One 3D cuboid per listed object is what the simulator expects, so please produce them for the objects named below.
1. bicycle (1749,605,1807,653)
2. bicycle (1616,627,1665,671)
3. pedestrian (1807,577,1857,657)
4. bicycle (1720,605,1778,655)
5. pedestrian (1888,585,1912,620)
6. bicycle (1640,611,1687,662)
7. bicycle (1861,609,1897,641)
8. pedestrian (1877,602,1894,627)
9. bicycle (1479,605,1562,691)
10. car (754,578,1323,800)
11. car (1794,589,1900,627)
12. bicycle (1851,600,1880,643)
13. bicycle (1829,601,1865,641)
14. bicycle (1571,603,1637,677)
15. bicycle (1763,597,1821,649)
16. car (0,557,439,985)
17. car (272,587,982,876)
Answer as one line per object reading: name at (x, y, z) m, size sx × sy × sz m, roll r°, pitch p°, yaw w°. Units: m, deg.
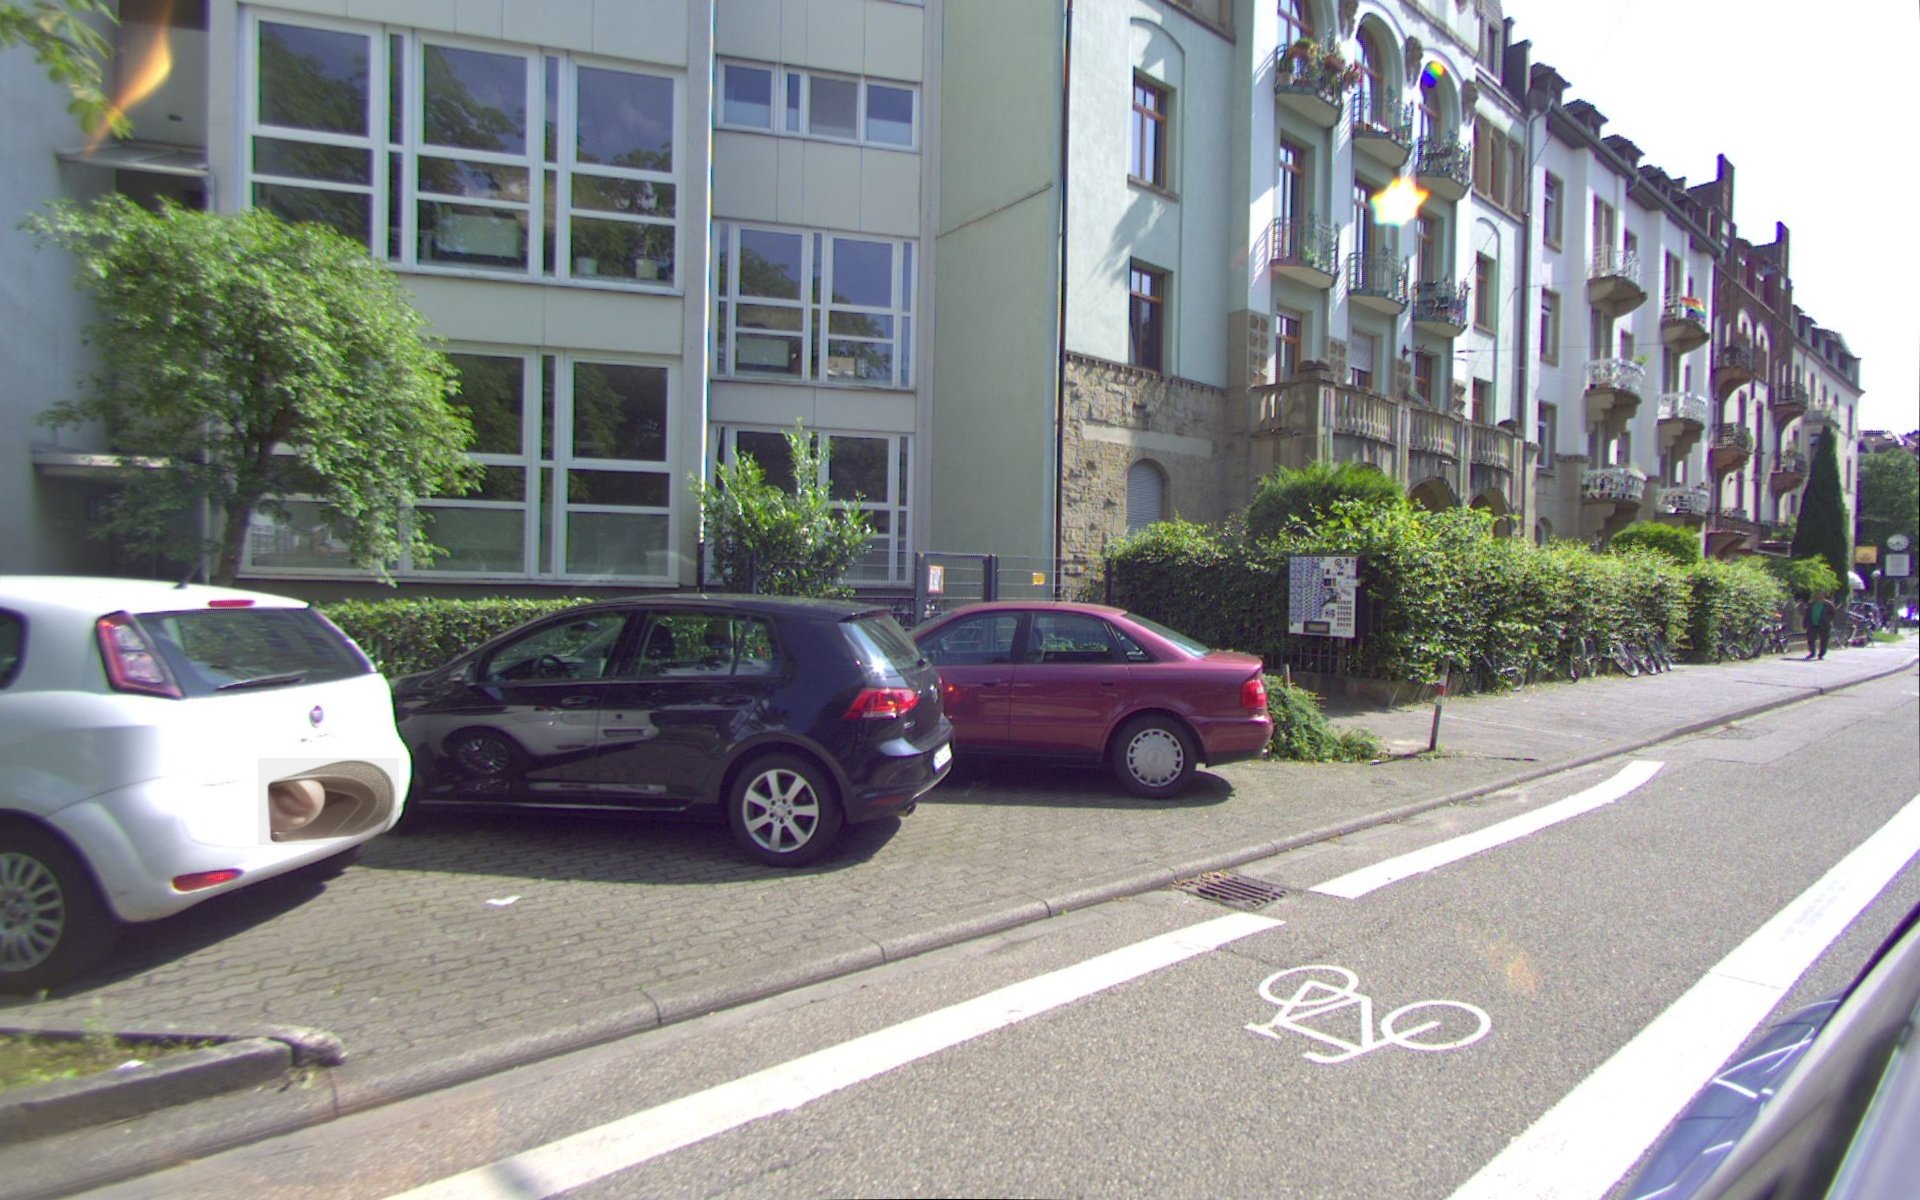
bicycle at (19.115, 0.652, 23.631) m, size 2.321 × 1.007 × 0.612 m, roll 0°, pitch 4°, yaw -41°
bicycle at (12.016, 0.846, 17.858) m, size 1.531 × 0.685 × 0.280 m, roll 0°, pitch 5°, yaw -41°
pedestrian at (21.207, 0.396, 24.608) m, size 0.788 × 1.884 × 0.571 m, roll 5°, pitch 3°, yaw 43°
bicycle at (17.279, 0.640, 22.153) m, size 1.839 × 1.000 × 0.613 m, roll 0°, pitch 4°, yaw -41°
pedestrian at (52.098, 0.120, 56.100) m, size 0.659 × 1.862 × 0.860 m, roll 11°, pitch 7°, yaw 41°
bicycle at (13.513, 0.697, 19.425) m, size 1.638 × 0.918 × 0.274 m, roll 2°, pitch 3°, yaw -41°
bicycle at (31.038, 0.810, 34.160) m, size 3.015 × 0.972 × 0.600 m, roll 0°, pitch 5°, yaw -44°
pedestrian at (51.742, 0.796, 56.570) m, size 0.570 × 1.341 × 0.436 m, roll 8°, pitch 6°, yaw 42°
bicycle at (7.981, 0.650, 14.371) m, size 1.975 × 1.122 × 0.280 m, roll 0°, pitch 5°, yaw -41°
car at (0.601, 0.596, 8.257) m, size 4.090 × 1.441 × 1.863 m, roll 2°, pitch 1°, yaw 8°
car at (41.795, 0.342, 47.737) m, size 1.935 × 1.542 × 3.412 m, roll 0°, pitch 3°, yaw -38°
bicycle at (27.949, 0.651, 31.242) m, size 1.813 × 1.276 × 0.451 m, roll 1°, pitch 3°, yaw -44°
bicycle at (26.430, 0.631, 30.141) m, size 1.811 × 1.136 × 0.452 m, roll 1°, pitch 3°, yaw -40°
bicycle at (10.598, 0.627, 16.629) m, size 1.975 × 1.122 × 0.280 m, roll 0°, pitch 5°, yaw -41°
bicycle at (21.486, 0.569, 26.114) m, size 2.472 × 1.246 × 0.741 m, roll 0°, pitch 2°, yaw -41°
car at (-4.614, 0.561, 4.451) m, size 3.929 × 1.479 × 1.534 m, roll 1°, pitch 1°, yaw 5°
car at (-1.911, 0.672, 6.403) m, size 3.933 × 1.466 × 1.696 m, roll 1°, pitch 1°, yaw 8°
